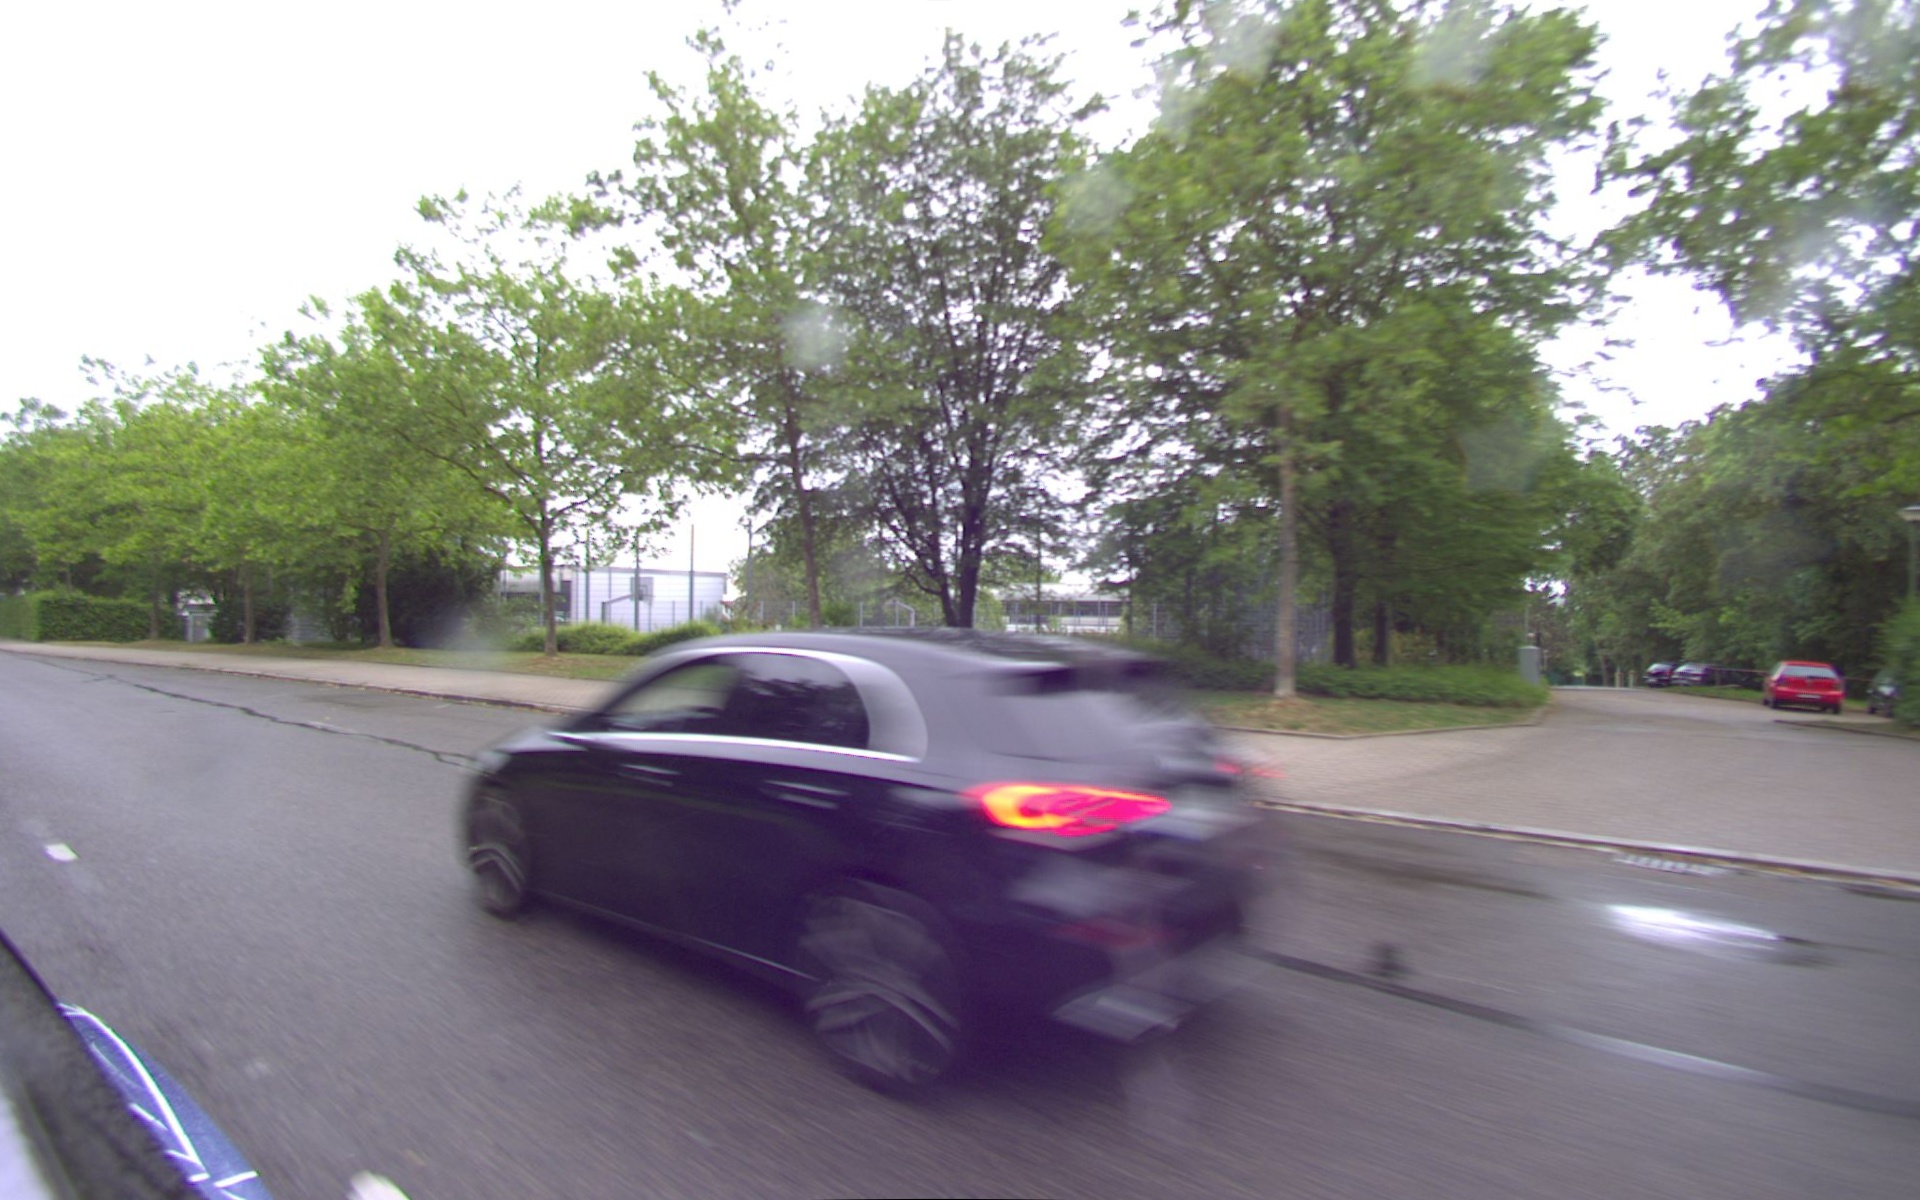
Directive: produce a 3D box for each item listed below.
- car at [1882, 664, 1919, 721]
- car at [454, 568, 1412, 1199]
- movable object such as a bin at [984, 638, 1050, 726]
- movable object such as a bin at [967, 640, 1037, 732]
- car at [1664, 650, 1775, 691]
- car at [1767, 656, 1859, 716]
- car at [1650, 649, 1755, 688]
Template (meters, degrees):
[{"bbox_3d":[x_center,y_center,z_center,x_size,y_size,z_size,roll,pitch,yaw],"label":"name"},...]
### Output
[{"bbox_3d":[27.900,2.680,28.948,1.797,1.521,3.950,4,0,37],"label":"car"},{"bbox_3d":[-0.436,0.708,4.355,4.000,1.476,1.806,-1,-2,43],"label":"car"},{"bbox_3d":[0.767,1.081,13.649,0.672,1.106,0.560,-1,1,43],"label":"movable object such as a bin"},{"bbox_3d":[0.542,1.087,13.043,0.672,1.106,0.560,-1,1,43],"label":"movable object such as a bin"},{"bbox_3d":[35.077,3.236,46.793,3.935,1.521,1.804,4,0,-10],"label":"car"},{"bbox_3d":[25.508,2.519,30.381,1.797,1.521,3.950,4,0,37],"label":"car"},{"bbox_3d":[35.882,3.309,48.931,3.935,1.521,1.804,4,0,-10],"label":"car"}]
